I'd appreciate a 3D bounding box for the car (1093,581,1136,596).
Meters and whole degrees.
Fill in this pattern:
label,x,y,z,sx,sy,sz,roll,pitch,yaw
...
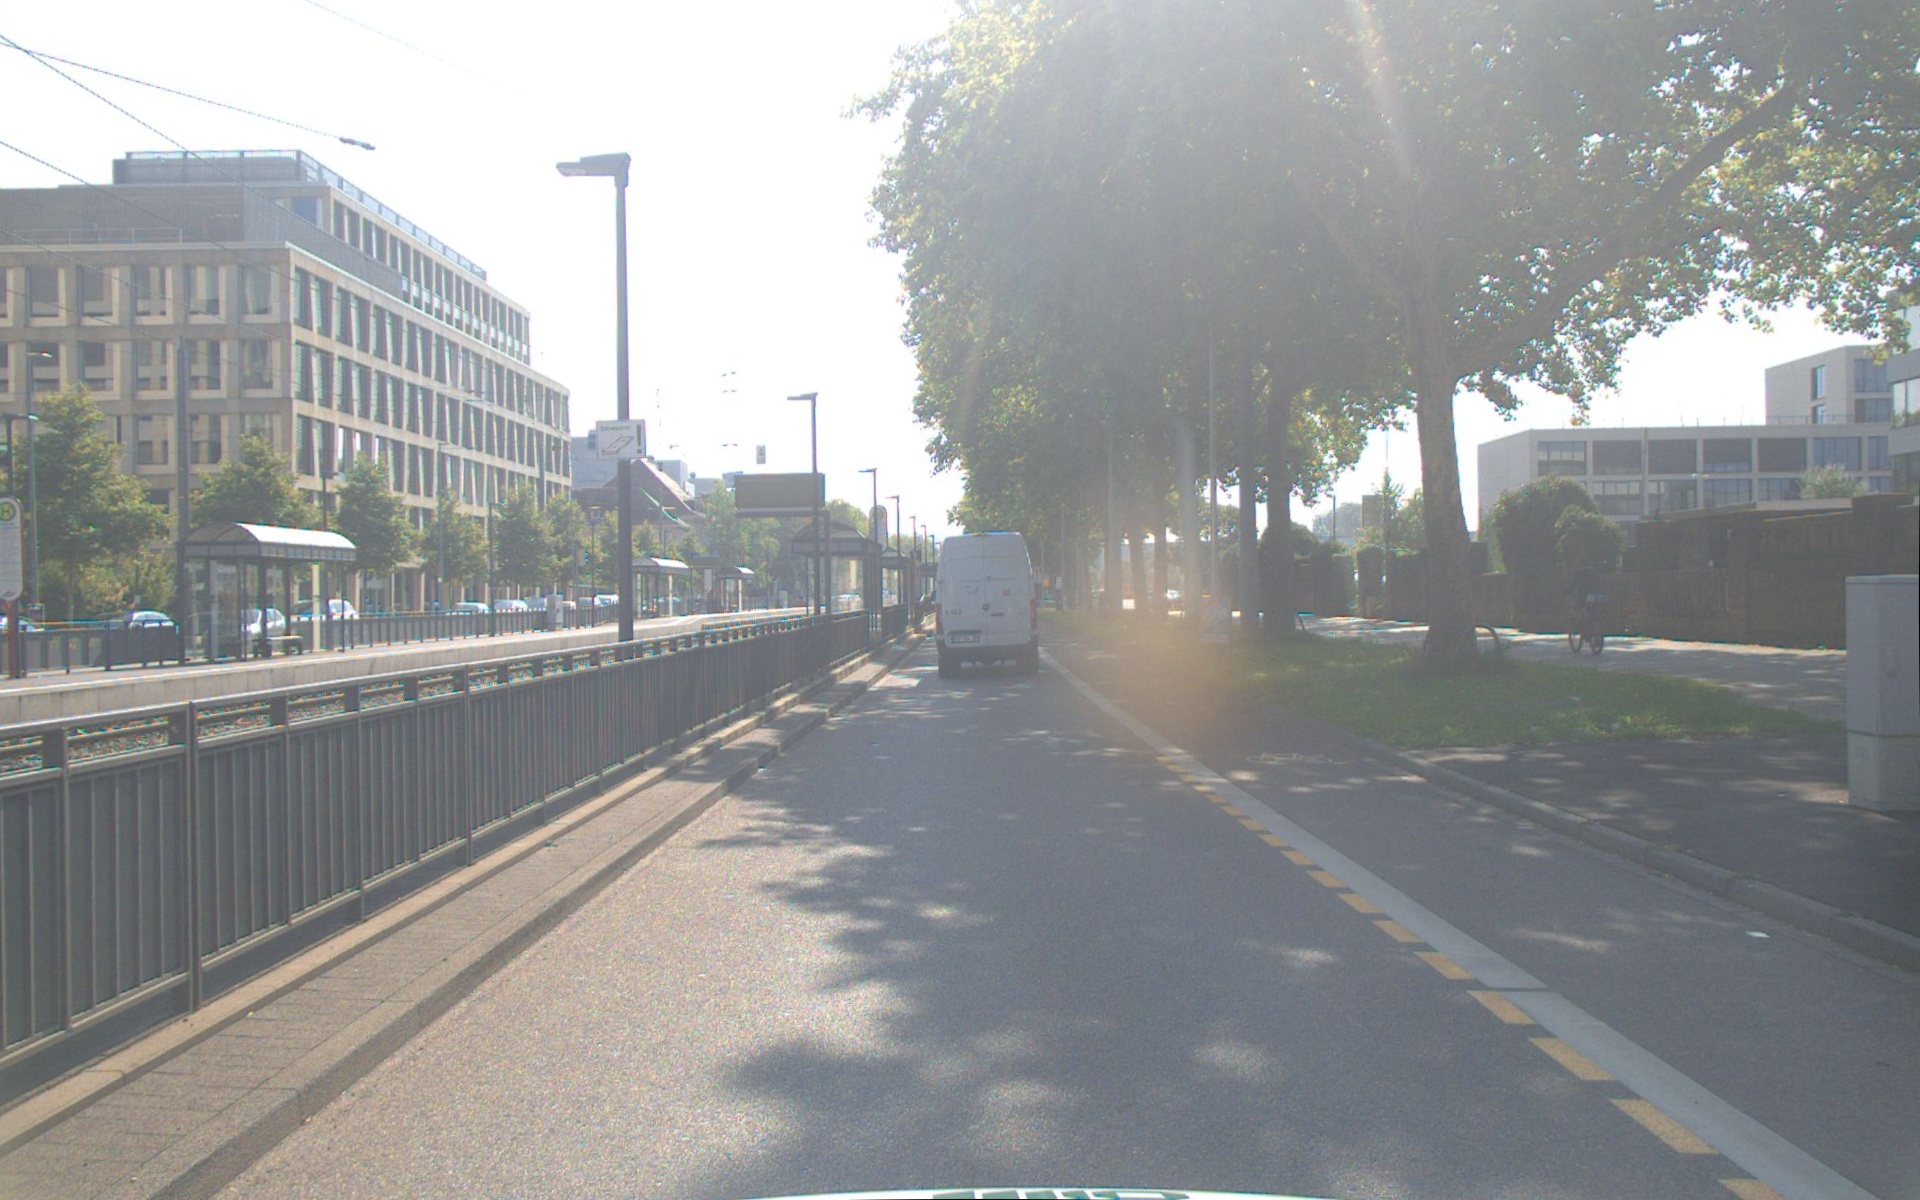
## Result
label,x,y,z,sx,sy,sz,roll,pitch,yaw
car,14.567,-1.094,156.309,3.905,1.400,2.000,0,-1,0

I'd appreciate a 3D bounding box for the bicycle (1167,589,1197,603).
label,x,y,z,sx,sy,sz,roll,pitch,yaw
bicycle,14.210,-0.271,105.990,1.892,0.861,0.372,-1,0,0

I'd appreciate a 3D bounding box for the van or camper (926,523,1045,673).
label,x,y,z,sx,sy,sz,roll,pitch,yaw
van or camper,0.420,-0.046,32.916,2.073,2.729,5.248,0,0,-2

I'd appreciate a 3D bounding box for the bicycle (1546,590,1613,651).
label,x,y,z,sx,sy,sz,roll,pitch,yaw
bicycle,11.681,0.368,31.227,0.481,1.108,1.856,-1,0,-2

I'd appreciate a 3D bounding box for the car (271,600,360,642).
label,x,y,z,sx,sy,sz,roll,pitch,yaw
car,-24.074,0.753,61.927,1.649,1.432,4.370,-2,0,-1

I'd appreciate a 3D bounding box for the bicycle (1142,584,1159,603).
label,x,y,z,sx,sy,sz,roll,pitch,yaw
bicycle,10.831,-0.376,94.075,0.667,1.022,2.218,-2,0,-1

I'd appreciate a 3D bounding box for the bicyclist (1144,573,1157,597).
label,x,y,z,sx,sy,sz,roll,pitch,yaw
bicyclist,10.834,-0.849,94.092,0.655,1.298,0.728,-2,0,-1

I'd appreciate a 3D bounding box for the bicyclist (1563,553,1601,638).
label,x,y,z,sx,sy,sz,roll,pitch,yaw
bicyclist,11.676,-0.088,31.061,0.459,1.566,0.596,-1,0,-3
